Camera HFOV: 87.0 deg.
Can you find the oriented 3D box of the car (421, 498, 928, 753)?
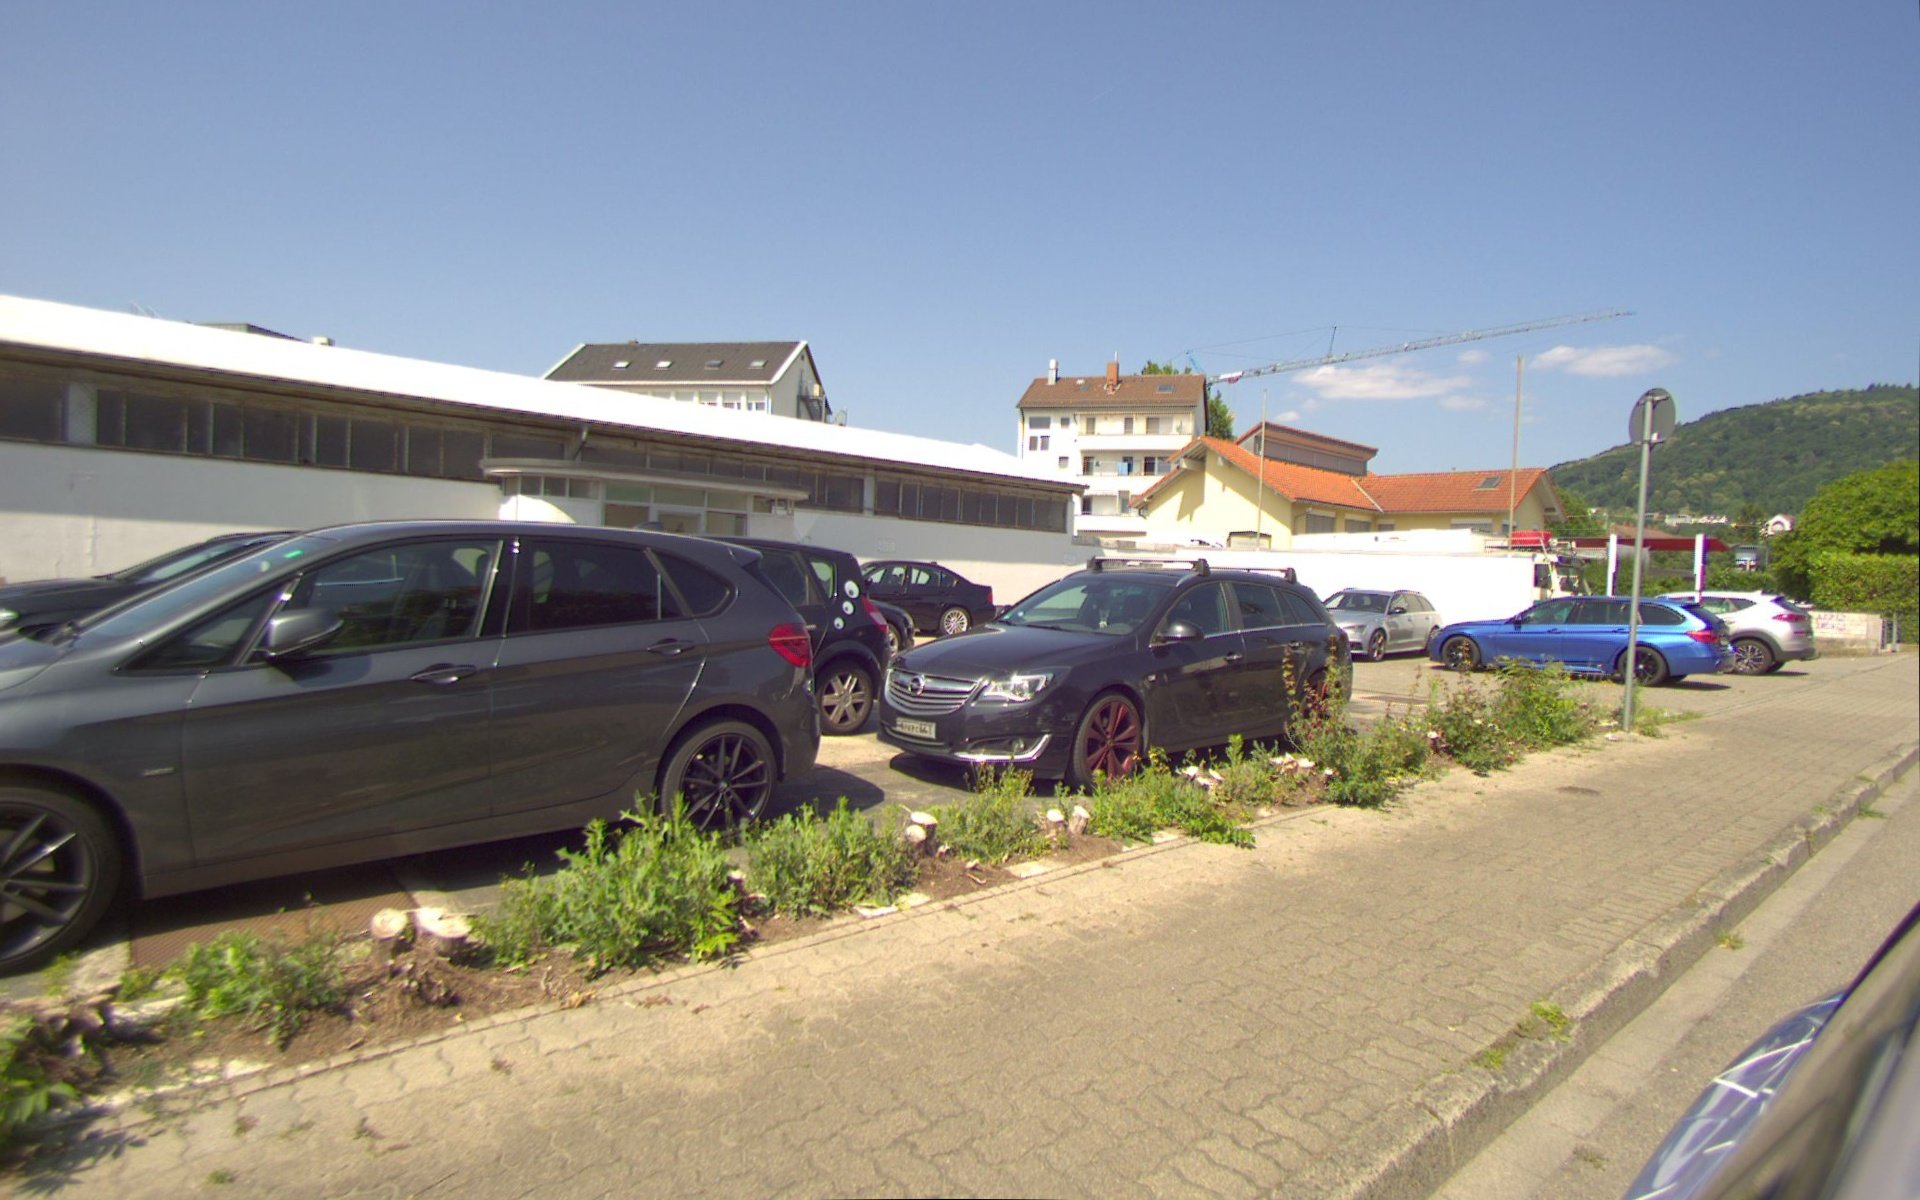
[{"bbox_3d":[-2.200,0.195,8.232,3.554,1.615,1.763,1,-1,-40],"label":"car"}]

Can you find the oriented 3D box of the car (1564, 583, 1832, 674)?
[{"bbox_3d":[15.219,0.581,21.068,1.736,1.704,4.206,0,-1,-41],"label":"car"}]

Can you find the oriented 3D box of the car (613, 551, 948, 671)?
[{"bbox_3d":[-2.269,0.123,13.353,4.026,1.340,1.646,1,2,-39],"label":"car"}]

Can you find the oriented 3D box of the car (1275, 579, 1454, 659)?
[{"bbox_3d":[8.701,0.351,21.570,4.382,1.459,1.888,0,3,-44],"label":"car"}]

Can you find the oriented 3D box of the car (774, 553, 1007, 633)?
[{"bbox_3d":[-1.338,-0.145,19.415,4.099,1.340,1.719,2,2,-20],"label":"car"}]

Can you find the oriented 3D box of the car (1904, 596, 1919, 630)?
[{"bbox_3d":[49.583,0.746,50.261,1.729,1.644,3.809,1,2,-42],"label":"car"}]

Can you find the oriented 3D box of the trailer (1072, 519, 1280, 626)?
[{"bbox_3d":[8.494,-1.200,41.058,3.009,3.910,8.364,1,2,-35],"label":"trailer"}]

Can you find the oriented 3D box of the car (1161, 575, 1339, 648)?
[{"bbox_3d":[6.819,0.239,23.673,4.110,1.459,1.892,1,4,-38],"label":"car"}]

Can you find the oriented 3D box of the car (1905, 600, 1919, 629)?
[{"bbox_3d":[47.555,0.790,48.204,1.532,1.351,3.555,1,2,-42],"label":"car"}]

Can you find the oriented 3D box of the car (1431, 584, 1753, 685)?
[{"bbox_3d":[10.713,0.514,17.417,1.859,1.459,4.360,2,0,-41],"label":"car"}]

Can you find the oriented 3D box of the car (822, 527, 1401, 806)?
[{"bbox_3d":[1.472,0.361,8.090,4.866,1.587,1.862,1,2,-42],"label":"car"}]

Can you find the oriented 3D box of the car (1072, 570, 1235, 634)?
[{"bbox_3d":[4.976,0.048,25.852,3.952,1.409,1.892,1,4,-38],"label":"car"}]

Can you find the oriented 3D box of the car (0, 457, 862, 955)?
[{"bbox_3d":[-2.714,0.305,4.690,4.218,1.577,1.815,1,2,-42],"label":"car"}]

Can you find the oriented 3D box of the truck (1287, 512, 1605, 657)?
[{"bbox_3d":[13.017,-0.350,27.810,2.482,3.467,7.531,1,-1,-40],"label":"truck"}]

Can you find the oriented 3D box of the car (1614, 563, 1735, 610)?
[{"bbox_3d":[46.013,-0.916,65.386,5.962,2.711,2.239,4,3,27],"label":"car"}]

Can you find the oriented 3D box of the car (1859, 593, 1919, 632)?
[{"bbox_3d":[43.372,0.655,45.352,1.865,1.546,4.411,-1,5,-43],"label":"car"}]

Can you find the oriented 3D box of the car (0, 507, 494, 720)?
[{"bbox_3d":[-6.622,0.031,9.064,1.757,1.514,4.093,5,3,38],"label":"car"}]
